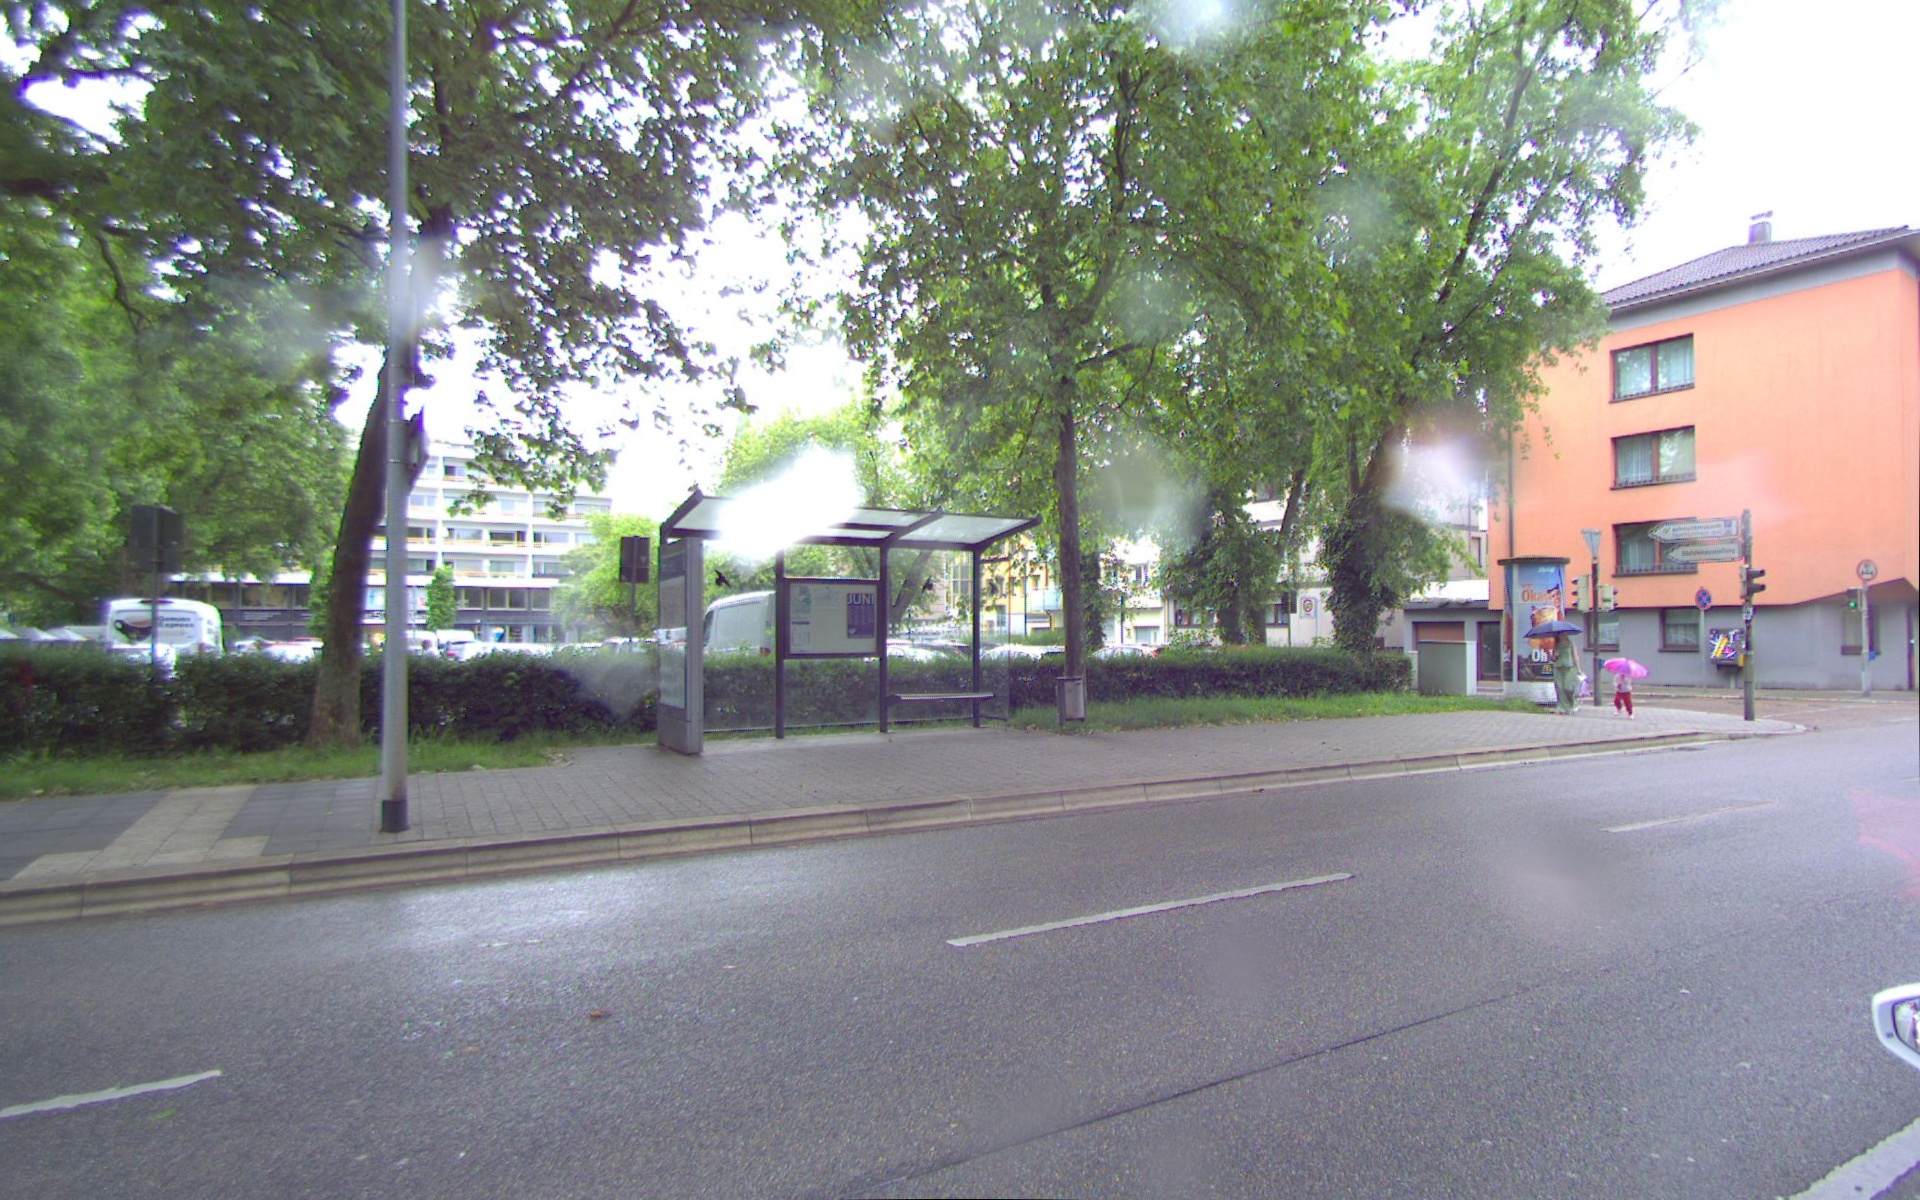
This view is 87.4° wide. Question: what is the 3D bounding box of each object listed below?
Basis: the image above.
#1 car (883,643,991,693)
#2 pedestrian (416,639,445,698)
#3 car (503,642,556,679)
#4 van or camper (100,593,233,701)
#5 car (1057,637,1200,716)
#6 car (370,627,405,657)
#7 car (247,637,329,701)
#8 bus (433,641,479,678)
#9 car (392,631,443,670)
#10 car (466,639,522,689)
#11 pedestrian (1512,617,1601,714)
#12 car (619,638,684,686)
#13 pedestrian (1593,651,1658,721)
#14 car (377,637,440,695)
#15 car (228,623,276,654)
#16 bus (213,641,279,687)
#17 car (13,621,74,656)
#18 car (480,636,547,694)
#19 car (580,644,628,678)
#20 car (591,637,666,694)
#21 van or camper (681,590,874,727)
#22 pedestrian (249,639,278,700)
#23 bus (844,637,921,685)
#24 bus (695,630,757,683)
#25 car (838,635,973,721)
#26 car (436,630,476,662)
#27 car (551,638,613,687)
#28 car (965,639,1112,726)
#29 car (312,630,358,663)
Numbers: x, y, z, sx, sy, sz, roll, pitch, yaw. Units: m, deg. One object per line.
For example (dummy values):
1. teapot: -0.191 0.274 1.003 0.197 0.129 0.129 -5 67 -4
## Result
1. car: -0.832 2.225 33.510 1.799 1.536 3.965 2 -3 -33
2. pedestrian: -11.241 1.446 21.322 0.462 1.229 0.434 2 0 -37
3. car: -17.695 2.452 41.230 1.587 1.447 3.293 2 -3 -30
4. van or camper: -20.696 1.233 26.414 2.074 2.570 4.391 1 -3 -30
5. car: 3.806 1.684 23.034 1.492 1.544 3.174 2 0 -32
6. car: -33.042 2.396 57.907 1.622 1.544 3.174 1 1 -32
7. car: -16.509 1.659 24.782 1.375 1.454 3.248 1 -3 -29
8. bus: -22.371 2.608 44.563 1.587 1.559 3.403 2 -3 -30
9. car: -20.899 1.944 38.680 1.587 1.447 3.293 2 -3 -30
10. car: -14.541 1.960 31.272 1.375 1.454 3.248 1 -3 -29
11. pedestrian: 11.319 1.214 19.079 1.195 1.765 0.987 1 0 -30
12. car: -9.992 1.972 32.466 1.375 1.454 3.248 1 -3 -29
13. pedestrian: 11.973 1.527 18.076 0.817 1.190 0.681 1 0 -30
14. car: -14.732 1.735 26.843 1.375 1.454 3.248 1 -3 -29
15. car: -33.714 1.854 47.900 1.587 1.447 3.293 2 -3 -30
16. bus: -25.548 2.269 36.008 1.587 1.559 3.403 2 -3 -30
17. car: -40.837 1.690 44.800 1.412 1.447 2.941 1 0 -30
18. car: -12.030 1.713 26.984 1.375 1.454 3.248 1 -3 -29
19. car: -15.196 2.577 42.821 1.332 1.401 3.141 2 -3 -30
20. car: -9.110 1.769 27.496 1.375 1.454 3.248 1 -3 -29
21. van or camper: -3.514 1.055 18.629 2.026 2.198 4.458 2 -3 -32
22. pedestrian: -14.511 1.441 20.930 0.462 1.229 0.434 2 0 -37
23. bus: -2.461 1.892 31.541 1.364 1.451 2.777 2 -3 -30
24. bus: -7.829 1.864 33.515 1.363 1.698 2.779 1 -3 -28
25. car: -1.210 1.575 21.180 1.492 1.544 3.174 2 0 -32
26. car: -27.160 2.455 54.103 1.622 1.544 3.174 2 0 -32
27. car: -11.956 1.952 31.673 1.375 1.454 3.248 1 -3 -29
28. car: 1.585 1.660 21.163 1.492 1.544 3.174 2 0 -32
29. car: -31.420 2.309 50.576 1.818 1.444 3.799 2 0 -31
